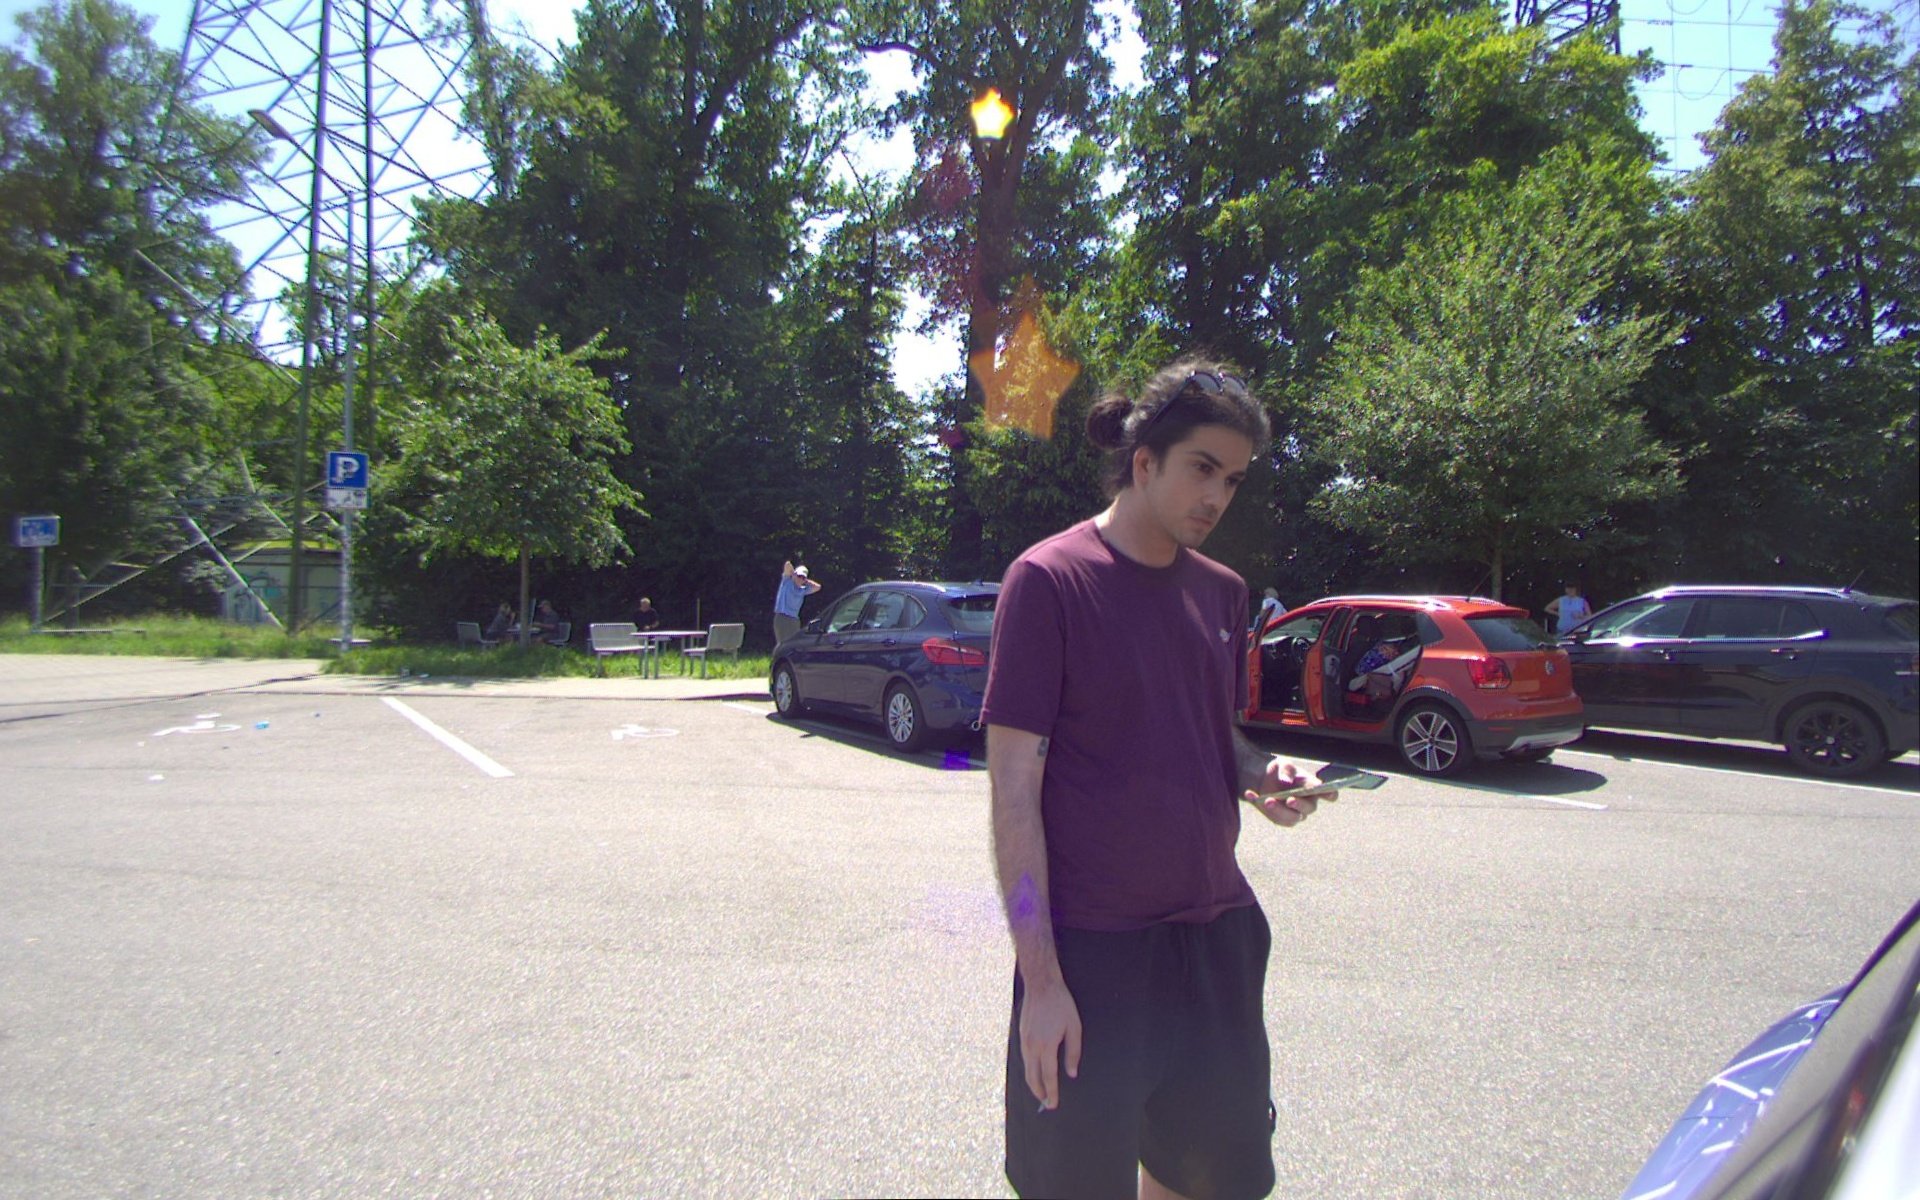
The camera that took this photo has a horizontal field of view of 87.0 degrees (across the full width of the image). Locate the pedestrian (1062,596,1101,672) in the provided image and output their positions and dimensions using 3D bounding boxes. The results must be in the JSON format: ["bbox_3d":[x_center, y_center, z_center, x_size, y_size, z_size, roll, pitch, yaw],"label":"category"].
[{"bbox_3d":[2.036,0.569,17.020,0.576,1.251,0.697,0,-1,1],"label":"pedestrian"}]

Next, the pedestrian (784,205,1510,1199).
[{"bbox_3d":[0.295,0.494,1.704,0.846,1.857,0.863,0,0,-40],"label":"pedestrian"}]

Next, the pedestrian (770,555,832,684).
[{"bbox_3d":[-2.243,0.263,14.215,0.662,1.754,0.835,1,0,-24],"label":"pedestrian"}]

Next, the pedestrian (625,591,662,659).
[{"bbox_3d":[-6.668,0.509,21.322,0.553,1.408,0.700,0,0,2],"label":"pedestrian"}]

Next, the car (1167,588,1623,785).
[{"bbox_3d":[3.874,0.635,9.598,1.559,1.467,3.737,1,0,-33],"label":"car"}]

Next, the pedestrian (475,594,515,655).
[{"bbox_3d":[-10.497,0.543,22.845,0.687,1.352,0.563,0,0,-40],"label":"pedestrian"}]

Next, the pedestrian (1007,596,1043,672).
[{"bbox_3d":[1.088,0.573,17.086,0.576,1.251,0.697,0,-1,1],"label":"pedestrian"}]

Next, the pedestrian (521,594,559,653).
[{"bbox_3d":[-9.740,0.532,23.484,0.687,1.352,0.563,0,0,-40],"label":"pedestrian"}]

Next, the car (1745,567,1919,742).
[{"bbox_3d":[10.761,0.540,9.790,1.961,1.734,4.621,0,1,-32],"label":"car"}]

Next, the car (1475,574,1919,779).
[{"bbox_3d":[7.239,0.585,9.713,1.707,1.607,3.732,1,0,-39],"label":"car"}]

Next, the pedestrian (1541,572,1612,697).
[{"bbox_3d":[9.346,0.511,15.360,0.752,1.854,0.520,0,0,4],"label":"pedestrian"}]

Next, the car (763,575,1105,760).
[{"bbox_3d":[-0.464,0.547,10.671,1.776,1.562,3.940,1,0,-34],"label":"car"}]
